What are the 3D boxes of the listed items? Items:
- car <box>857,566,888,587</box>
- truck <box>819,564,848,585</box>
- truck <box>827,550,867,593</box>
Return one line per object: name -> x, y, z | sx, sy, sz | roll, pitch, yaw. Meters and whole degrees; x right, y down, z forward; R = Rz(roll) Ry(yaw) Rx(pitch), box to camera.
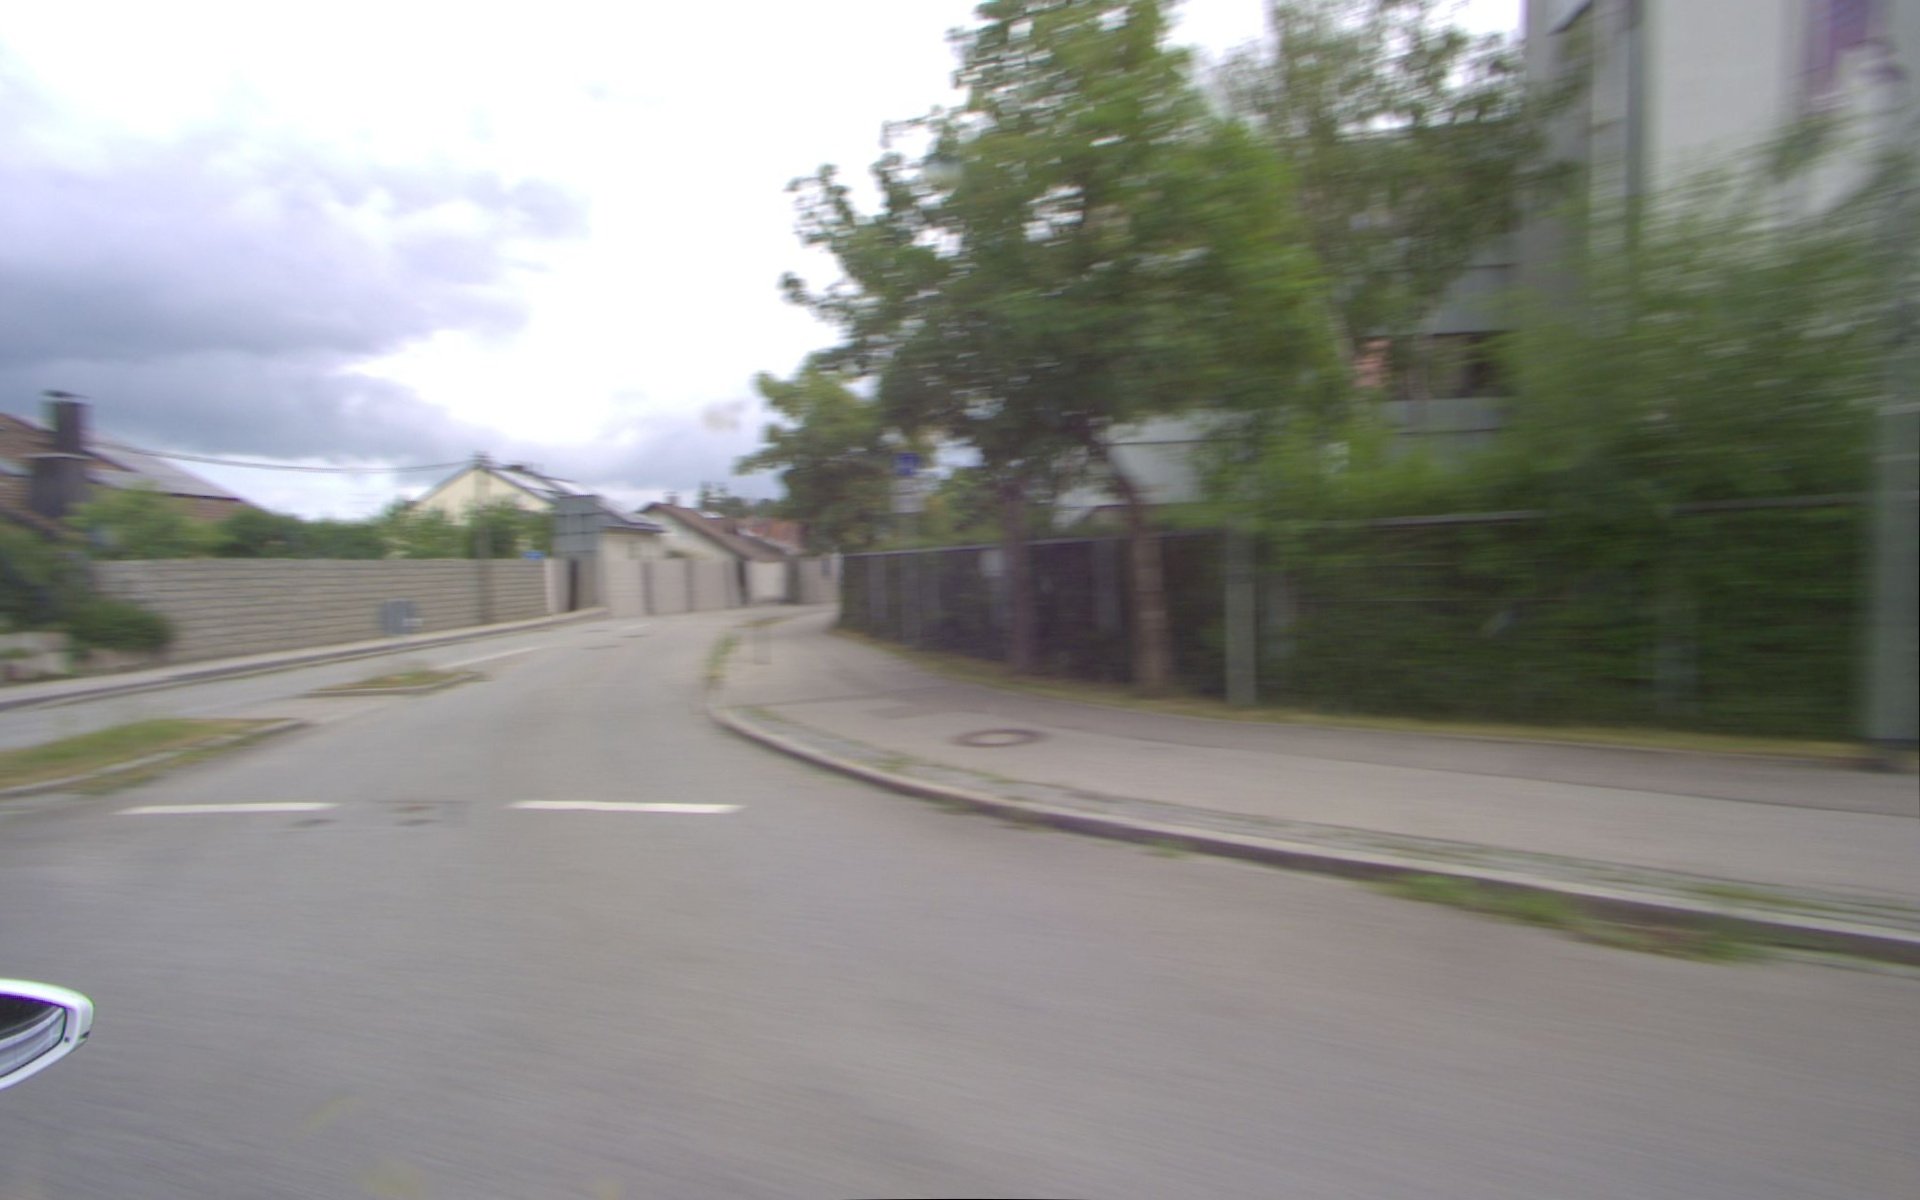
car -> -6.600, -1.824, 75.908 | 1.961, 1.506, 3.997 | -1, 2, -1
truck -> -10.646, -2.190, 84.530 | 1.731, 1.665, 4.396 | -1, 2, 2
truck -> -7.000, -1.786, 62.415 | 1.732, 2.504, 4.396 | -1, 2, 2
